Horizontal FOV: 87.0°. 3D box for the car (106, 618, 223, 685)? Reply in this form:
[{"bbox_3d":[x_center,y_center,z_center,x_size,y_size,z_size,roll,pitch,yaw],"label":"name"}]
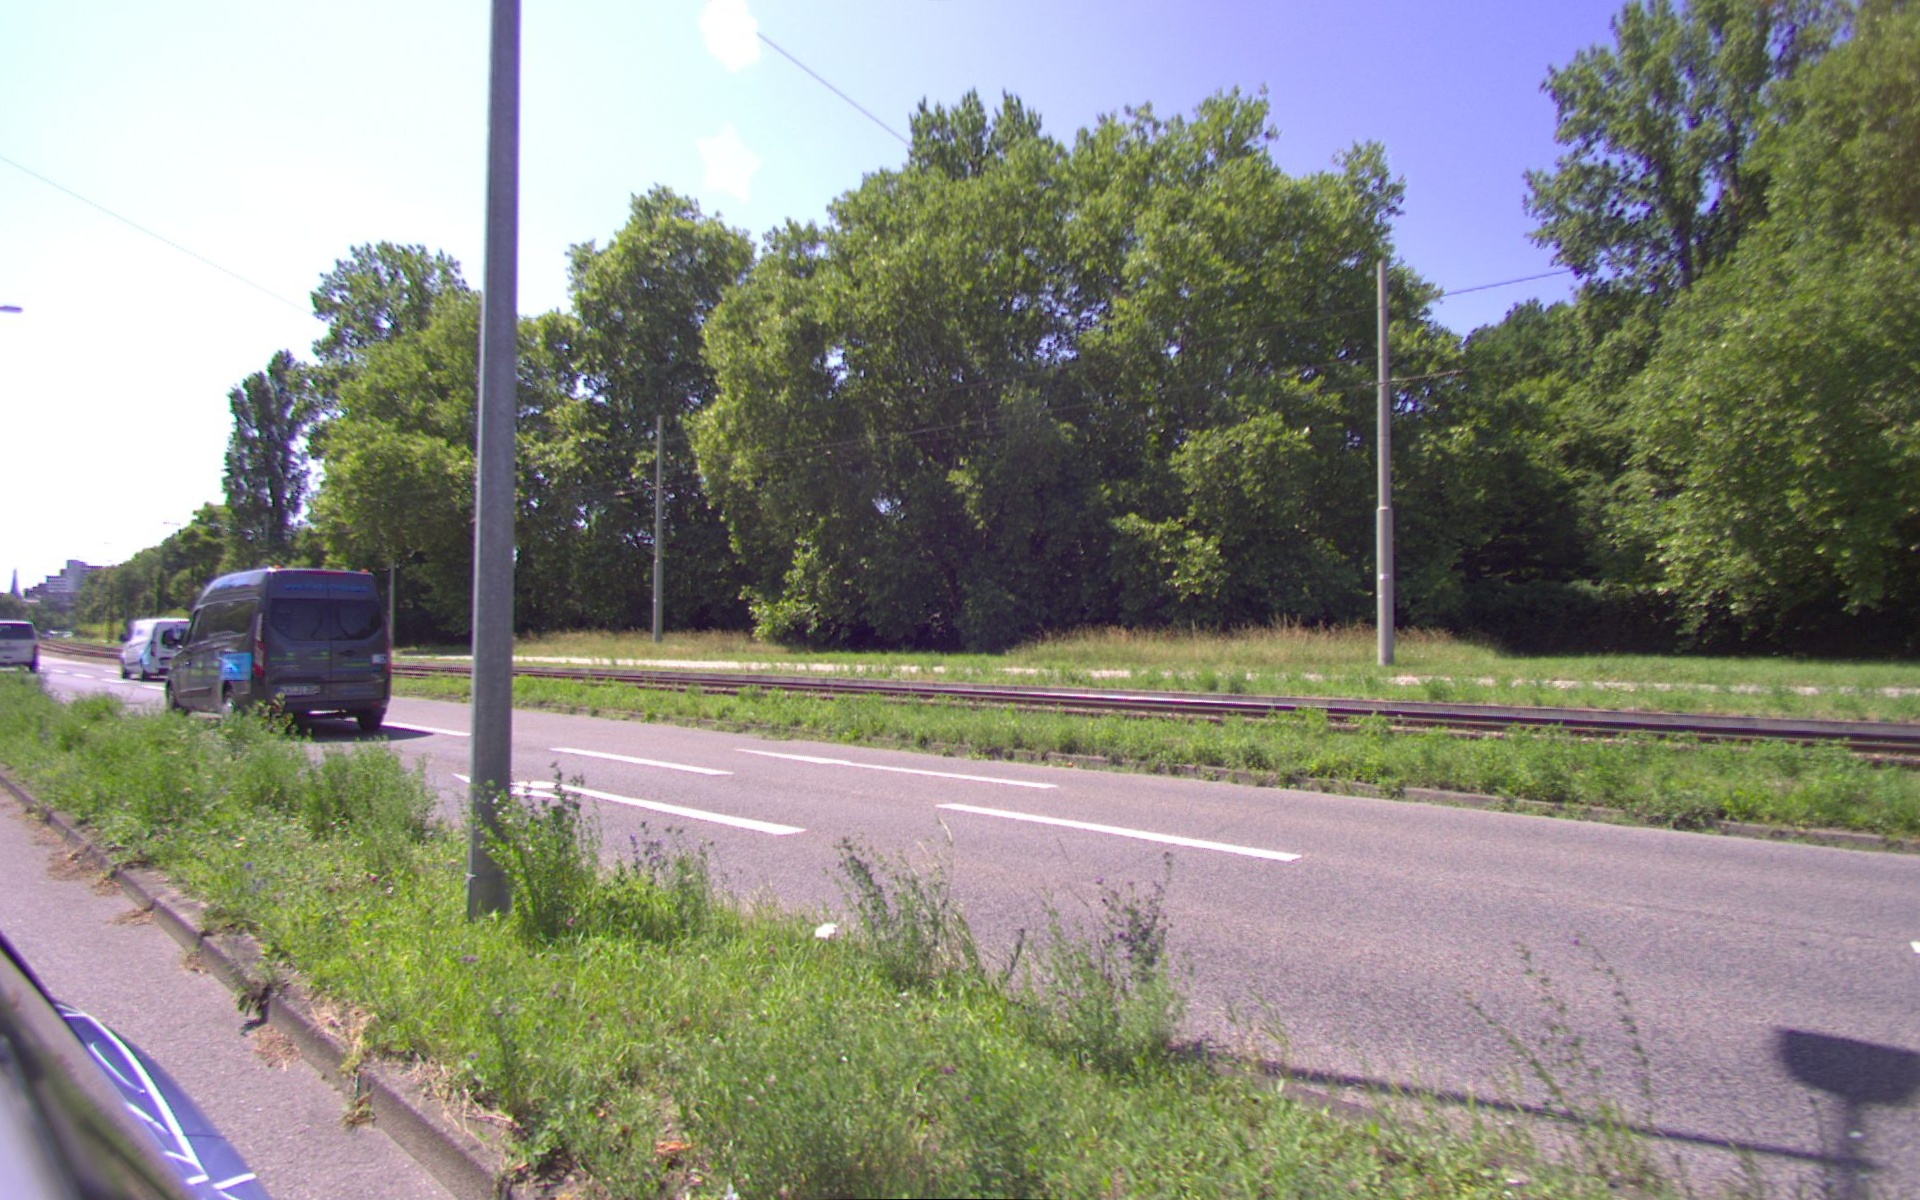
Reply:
[{"bbox_3d":[-26.186,1.692,33.248,5.025,2.029,1.973,-2,-4,40],"label":"car"}]

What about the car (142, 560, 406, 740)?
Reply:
[{"bbox_3d":[-10.871,0.762,15.862,5.368,2.384,1.973,-2,-3,40],"label":"car"}]

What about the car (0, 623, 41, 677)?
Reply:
[{"bbox_3d":[-36.315,1.876,38.166,5.564,1.921,1.810,-2,-4,42],"label":"car"}]
